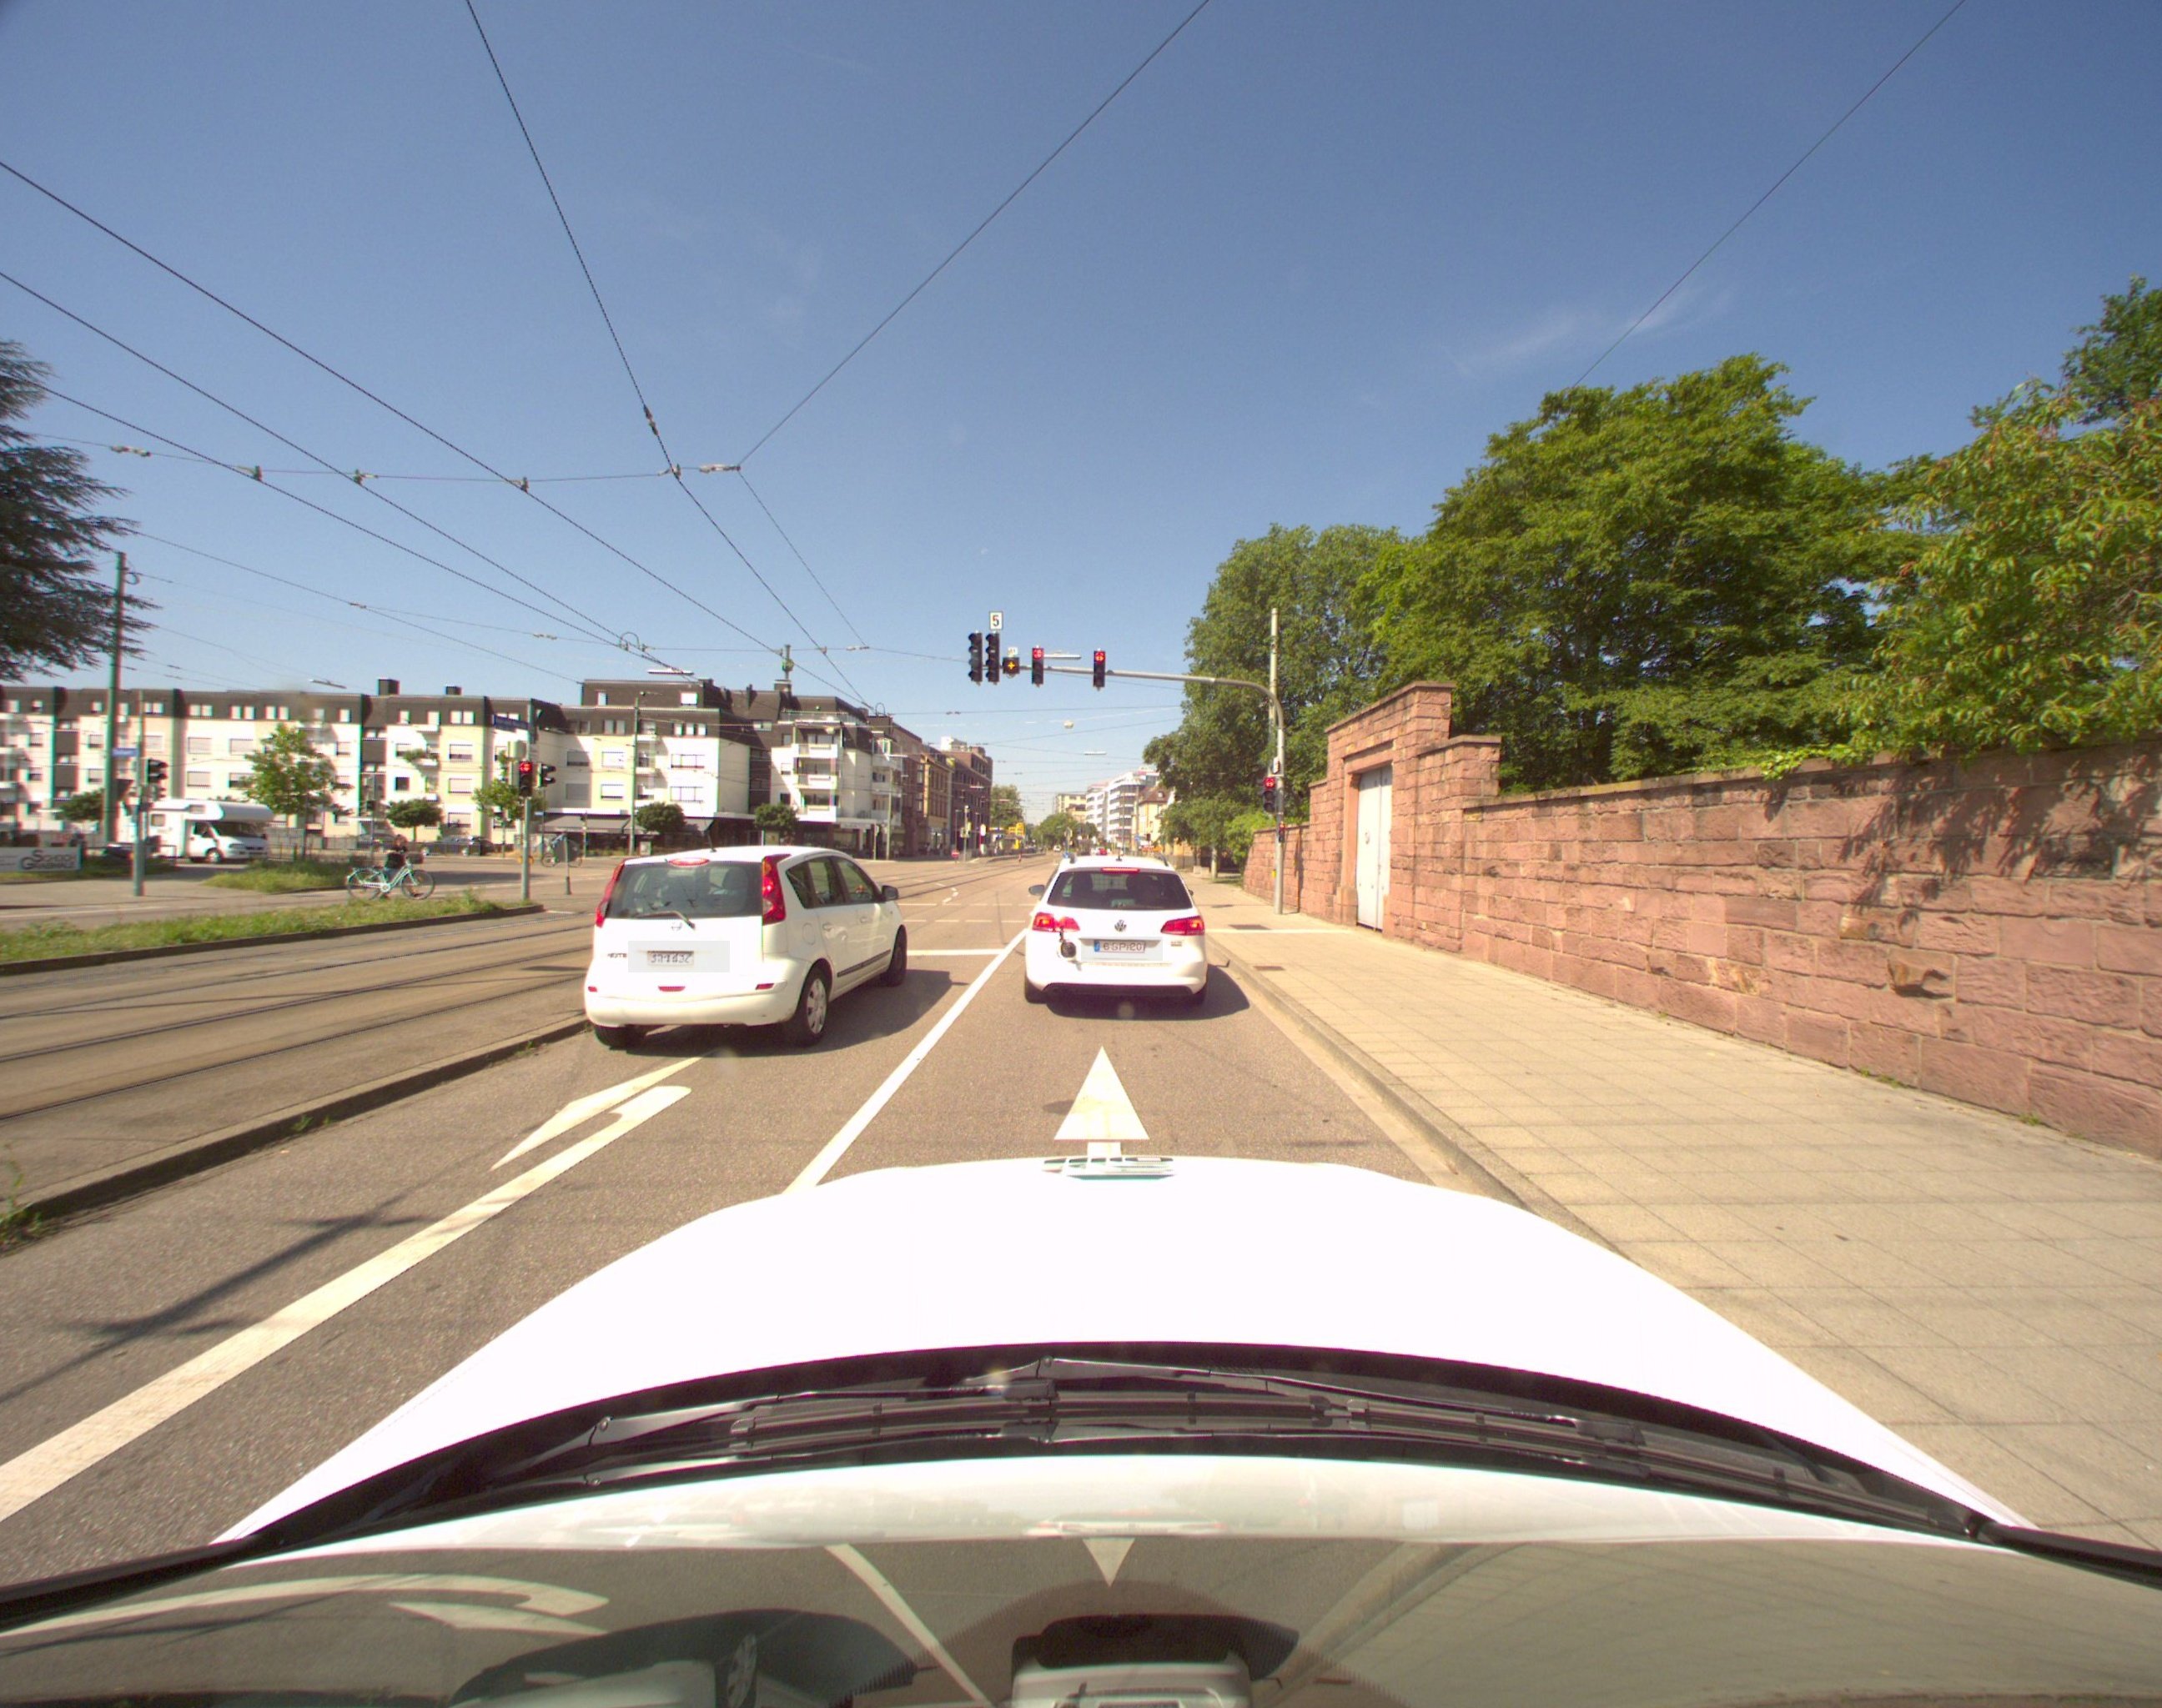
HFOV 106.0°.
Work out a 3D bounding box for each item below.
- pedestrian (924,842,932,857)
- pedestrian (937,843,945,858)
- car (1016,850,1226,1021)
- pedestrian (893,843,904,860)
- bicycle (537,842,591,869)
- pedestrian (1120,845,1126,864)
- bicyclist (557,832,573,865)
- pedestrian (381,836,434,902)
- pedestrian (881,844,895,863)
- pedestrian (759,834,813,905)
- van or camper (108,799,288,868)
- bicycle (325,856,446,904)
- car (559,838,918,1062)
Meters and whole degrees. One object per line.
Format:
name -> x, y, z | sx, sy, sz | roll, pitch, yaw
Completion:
pedestrian -> -17.621, -0.499, 93.793 | 0.860, 1.743, 0.973 | -1, -1, -4
pedestrian -> -17.179, -0.440, 99.682 | 0.860, 1.743, 0.973 | -1, -1, -4
car -> 0.402, 0.694, 9.028 | 1.801, 1.448, 4.002 | 0, 0, 2
pedestrian -> -18.065, -0.244, 80.622 | 0.857, 1.743, 0.976 | -1, -1, 6
bicycle -> -25.791, 0.063, 40.673 | 2.256, 1.297, 0.554 | 0, -1, -30
pedestrian -> 5.165, 0.064, 100.409 | 0.687, 2.325, 1.233 | -1, -1, 3
bicyclist -> -25.790, -0.276, 40.681 | 0.640, 1.612, 0.557 | 0, -1, -28
pedestrian -> -16.231, 0.351, 19.635 | 0.746, 1.571, 0.672 | 0, 0, -13
pedestrian -> -18.204, -0.051, 76.697 | 0.980, 1.743, 0.854 | 0, -1, -44
pedestrian -> -7.100, 0.366, 19.621 | 0.969, 1.651, 0.955 | -1, -1, -3
van or camper -> -41.583, -0.928, 38.477 | 5.664, 3.093, 2.575 | -1, -1, 0
bicycle -> -16.200, 0.602, 19.016 | 2.021, 1.090, 0.707 | 1, 0, -13
car -> -2.792, 0.643, 7.633 | 1.636, 1.566, 3.805 | 0, 1, 2
